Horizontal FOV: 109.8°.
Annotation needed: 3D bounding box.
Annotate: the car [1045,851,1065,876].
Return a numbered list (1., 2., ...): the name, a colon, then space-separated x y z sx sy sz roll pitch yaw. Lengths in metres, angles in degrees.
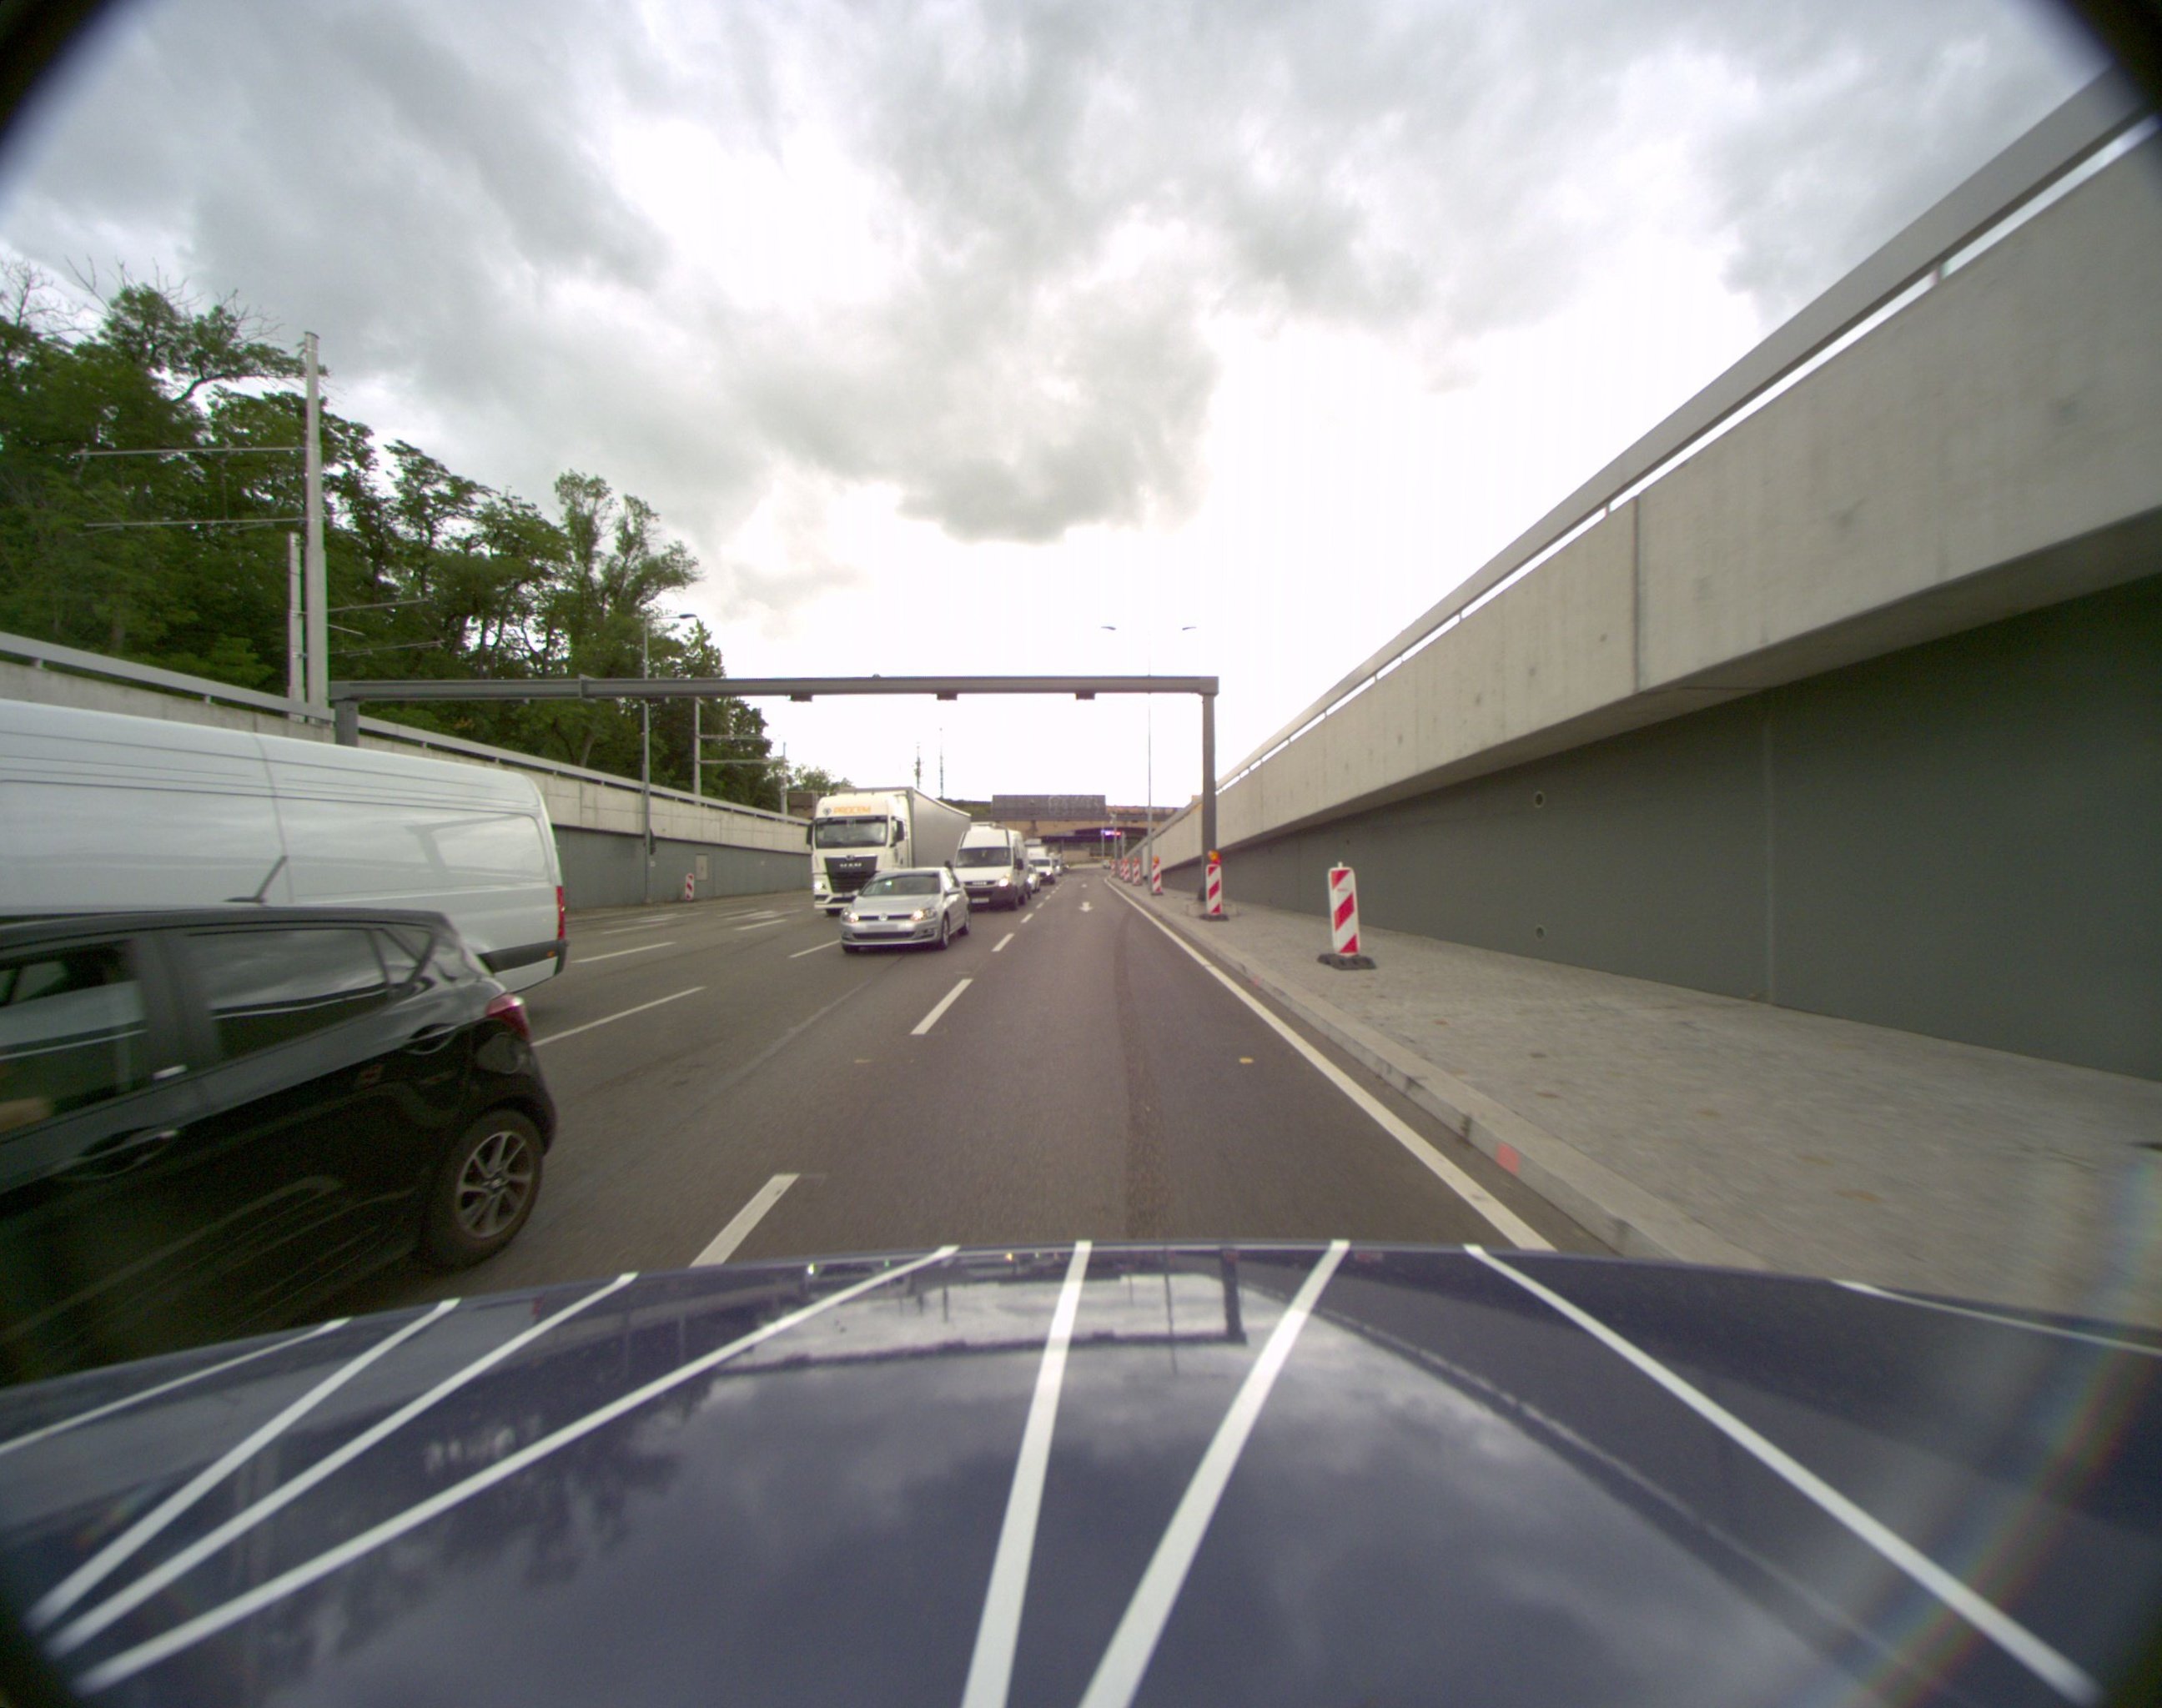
1. car: -3.237 1.130 95.004 2.160 2.880 6.210 -2 0 0

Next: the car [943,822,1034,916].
1. car: -2.915 0.508 25.383 2.063 2.612 5.943 -5 -1 0

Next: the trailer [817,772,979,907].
1. trailer: -7.267 -0.508 32.847 3.814 4.604 12.114 -3 0 0

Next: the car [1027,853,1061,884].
1. car: -2.498 0.959 52.994 1.998 1.978 5.199 -2 0 0

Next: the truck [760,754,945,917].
1. truck: -7.322 -0.525 25.850 3.814 4.604 7.442 -3 0 0

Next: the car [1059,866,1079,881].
1. car: -1.773 2.818 111.987 2.000 2.002 4.408 -5 1 -12

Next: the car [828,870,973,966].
1. car: -3.158 1.058 14.138 1.768 1.375 4.038 -1 1 -1

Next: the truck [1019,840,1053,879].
1. truck: -4.657 0.500 78.919 3.033 3.566 8.947 -5 1 -3

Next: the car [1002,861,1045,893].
1. car: -2.837 1.125 38.189 1.720 1.390 4.347 -1 1 1

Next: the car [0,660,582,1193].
1. car: -6.638 0.395 4.815 2.080 2.757 7.326 -1 0 0

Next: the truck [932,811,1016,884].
1. truck: -6.729 -0.353 50.093 3.734 4.117 10.983 -2 0 0

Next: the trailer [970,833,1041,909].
1. trailer: -2.836 0.552 29.764 2.108 2.624 4.809 -3 1 1

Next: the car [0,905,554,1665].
1. car: -3.180 0.997 1.511 1.686 1.535 3.693 -2 -1 -1
